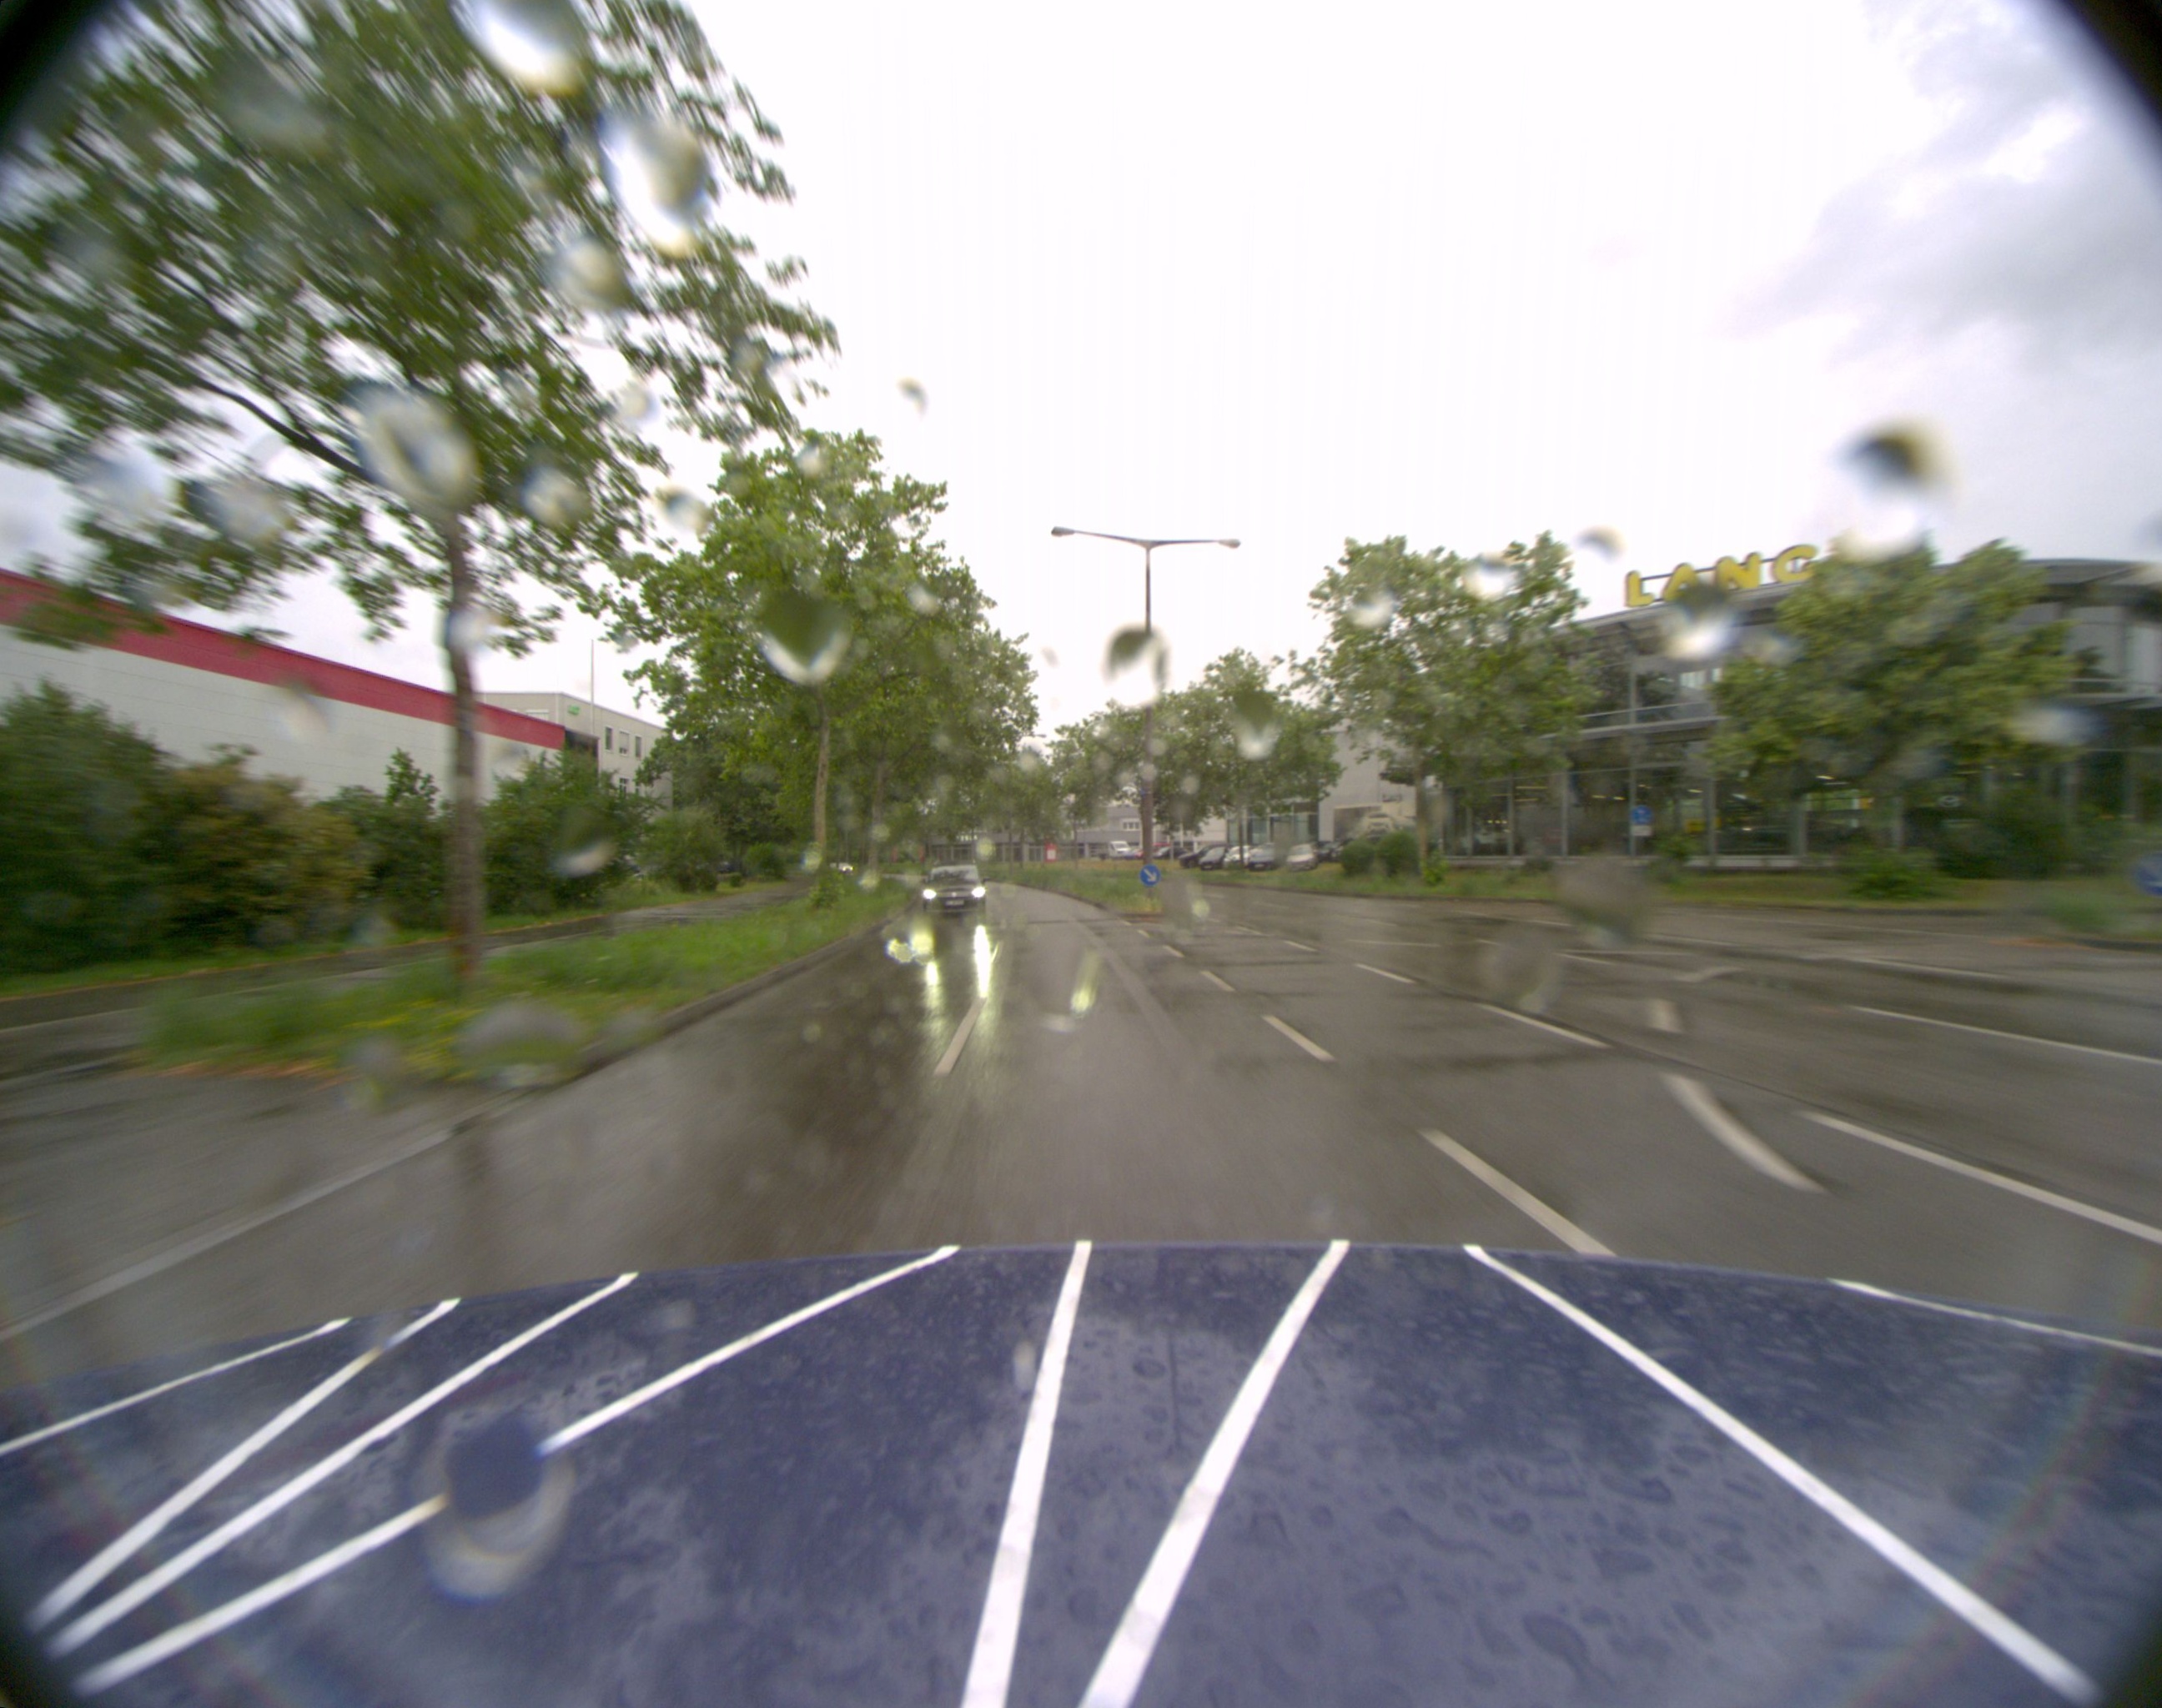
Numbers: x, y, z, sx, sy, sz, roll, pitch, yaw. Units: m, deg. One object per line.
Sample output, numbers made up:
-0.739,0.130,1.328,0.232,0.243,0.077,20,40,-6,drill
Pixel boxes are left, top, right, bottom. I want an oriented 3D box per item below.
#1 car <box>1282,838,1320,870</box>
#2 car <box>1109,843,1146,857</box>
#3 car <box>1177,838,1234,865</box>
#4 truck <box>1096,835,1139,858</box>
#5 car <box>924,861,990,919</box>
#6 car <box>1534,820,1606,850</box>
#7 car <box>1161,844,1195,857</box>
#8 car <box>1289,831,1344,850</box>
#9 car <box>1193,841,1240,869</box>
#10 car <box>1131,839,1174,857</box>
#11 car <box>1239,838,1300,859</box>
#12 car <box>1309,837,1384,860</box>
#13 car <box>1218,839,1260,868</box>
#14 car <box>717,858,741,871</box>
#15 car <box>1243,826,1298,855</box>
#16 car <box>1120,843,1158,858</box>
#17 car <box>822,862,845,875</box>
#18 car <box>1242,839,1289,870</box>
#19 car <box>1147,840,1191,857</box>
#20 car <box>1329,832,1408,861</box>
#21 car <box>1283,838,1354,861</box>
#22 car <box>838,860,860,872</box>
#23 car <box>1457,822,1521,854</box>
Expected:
13.676,-0.028,47.169,1.781,1.468,4.003,-7,3,21,car
5.136,-0.436,83.603,3.538,1.319,1.765,-4,1,-25,car
10.161,-0.213,62.151,4.430,1.548,1.847,-8,3,9,car
4.190,-0.809,88.033,2.256,2.331,6.183,-5,1,-24,truck
-3.715,1.014,23.108,1.785,1.546,3.997,-1,0,-8,car
25.188,-0.951,39.310,1.781,1.467,4.116,-1,0,12,car
11.731,-0.414,92.205,1.771,1.388,4.148,-3,0,-31,car
19.507,-1.139,62.808,4.443,1.465,1.915,-2,1,-34,car
10.388,0.046,58.057,1.843,1.471,4.134,-7,3,34,car
7.426,-0.614,79.147,4.013,1.548,1.844,-4,1,-25,car
14.831,-0.430,59.781,4.442,1.465,1.916,-2,1,-27,car
18.075,-0.382,51.847,4.432,1.465,1.920,-2,1,1,car
11.542,-0.046,55.348,1.844,1.471,4.133,-7,3,26,car
-39.384,1.126,85.092,1.598,1.350,3.703,-2,1,-11,car
19.444,-1.389,77.981,5.328,2.737,2.173,-2,1,17,car
6.187,-0.398,81.346,3.538,1.319,1.765,-4,1,-25,car
-30.659,1.738,93.915,1.788,1.546,3.990,-1,0,-32,car
12.441,0.007,51.113,1.843,1.415,4.134,-7,3,30,car
8.870,-0.570,76.717,4.013,1.349,1.844,-4,1,-25,car
18.698,-0.512,49.547,4.432,1.728,1.920,-2,1,1,car
16.934,-0.338,54.366,4.432,1.465,1.920,-2,1,1,car
-31.781,1.597,104.017,1.788,1.546,3.990,-1,0,-32,car
20.461,-0.792,38.306,1.781,1.467,4.116,-1,0,12,car
